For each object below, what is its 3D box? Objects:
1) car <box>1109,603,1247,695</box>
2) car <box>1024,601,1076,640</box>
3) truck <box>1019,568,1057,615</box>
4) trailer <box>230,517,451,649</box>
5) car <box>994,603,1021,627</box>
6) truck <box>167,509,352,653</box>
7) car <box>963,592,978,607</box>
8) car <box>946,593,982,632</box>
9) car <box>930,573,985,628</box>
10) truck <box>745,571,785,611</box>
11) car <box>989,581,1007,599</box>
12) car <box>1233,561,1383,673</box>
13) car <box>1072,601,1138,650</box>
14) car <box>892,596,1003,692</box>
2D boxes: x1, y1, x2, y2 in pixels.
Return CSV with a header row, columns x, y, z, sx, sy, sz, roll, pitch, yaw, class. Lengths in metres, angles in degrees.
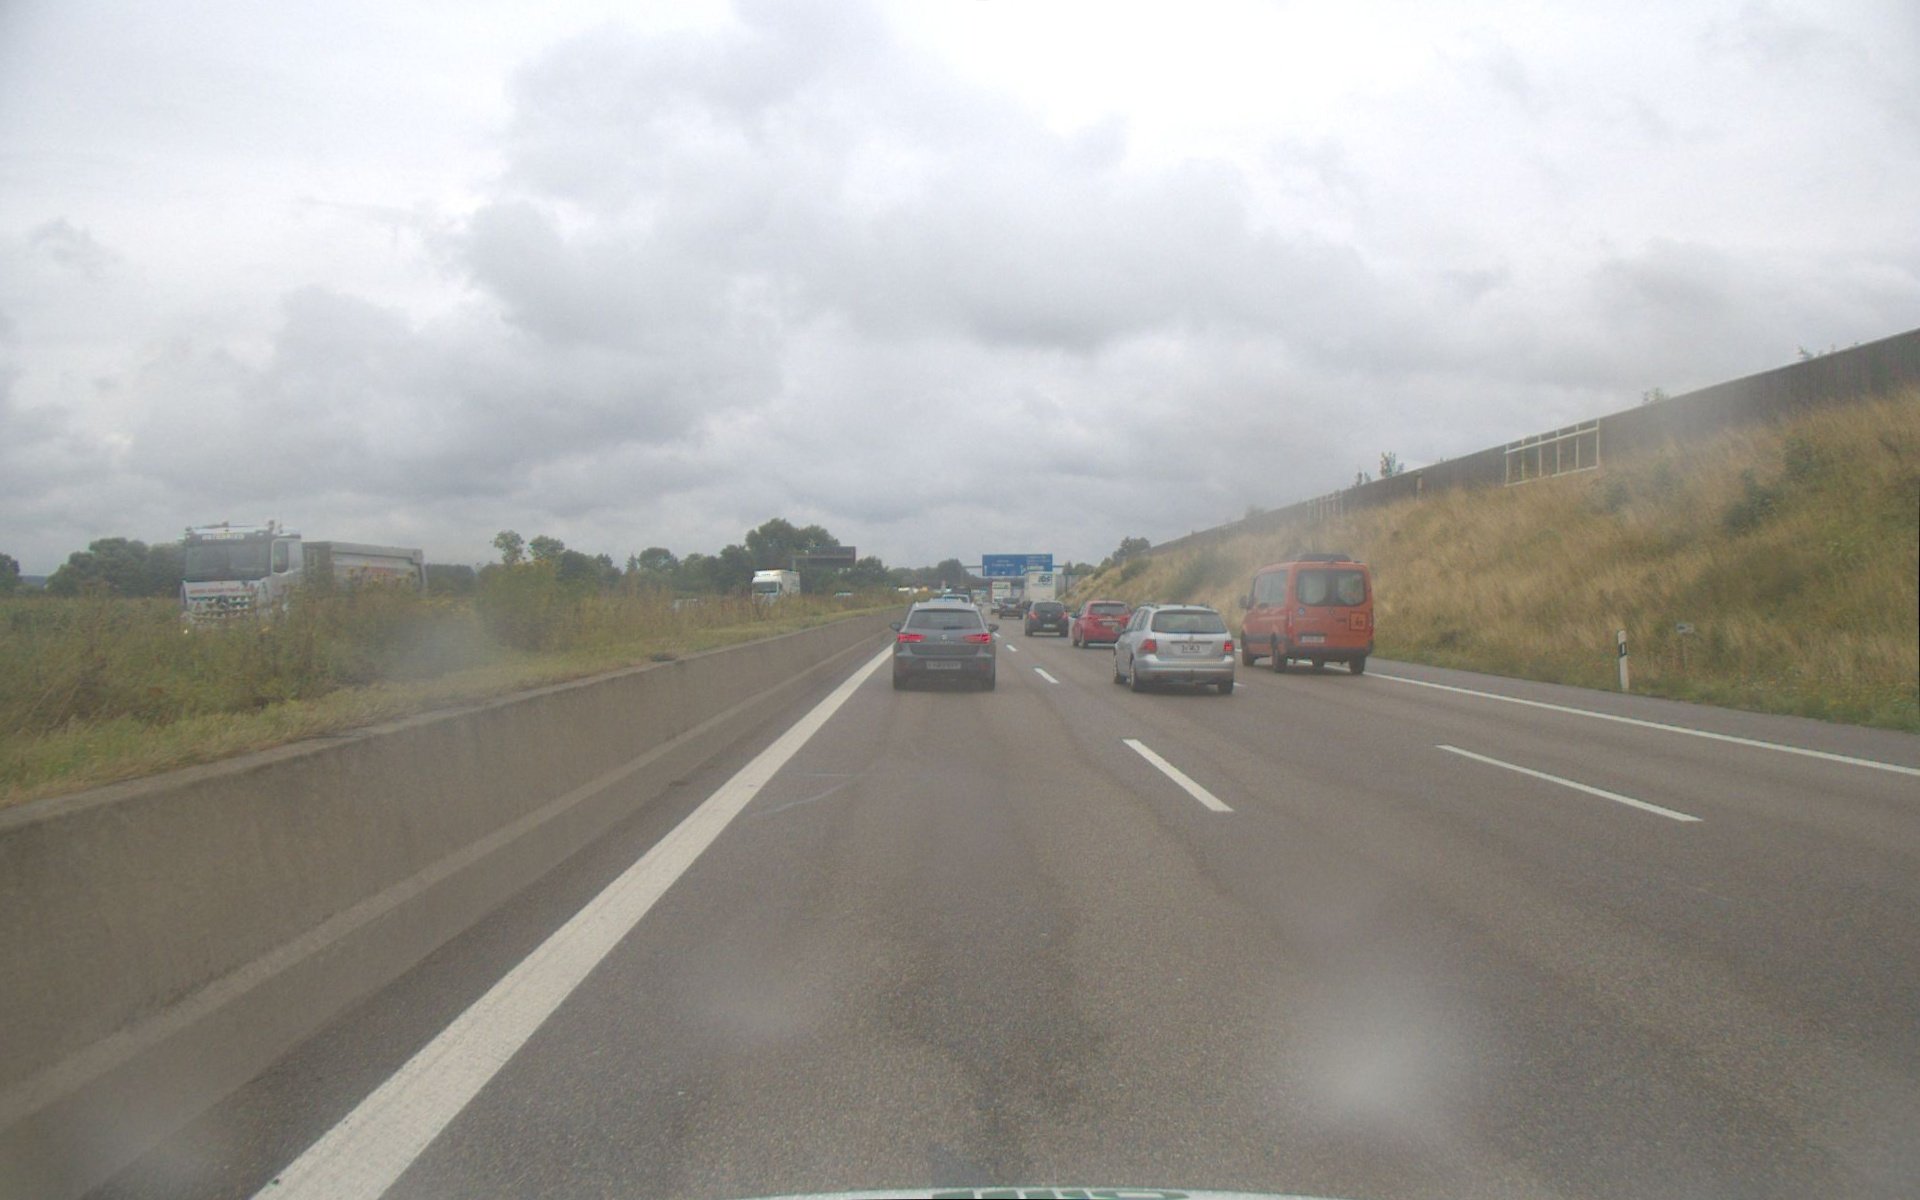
x,y,z,sx,sy,sz,roll,pitch,yaw,class
3.721,0.799,28.900,1.706,1.450,4.515,-1,0,-1,car
3.717,0.822,68.805,1.882,1.548,4.622,0,0,0,car
7.701,-0.791,165.813,3.215,4.370,19.035,1,0,1,truck
-17.602,-0.415,47.877,2.730,3.387,9.925,1,0,-1,trailer
3.536,1.105,122.979,1.808,1.716,3.999,1,0,-1,car
-17.518,-0.441,41.656,2.700,3.402,4.520,1,0,-1,truck
1.318,-0.051,209.726,1.953,1.845,4.596,0,0,0,car
0.226,0.588,81.260,1.669,1.828,3.855,-2,0,0,car
-0.038,0.032,55.922,1.718,1.780,4.001,1,0,2,car
-17.372,-0.754,147.854,2.909,3.488,5.627,1,0,-1,truck
4.515,-1.180,195.668,1.953,2.049,3.999,-1,0,-1,car
7.791,0.335,37.661,2.043,2.355,6.180,0,0,-1,car
4.650,0.800,53.654,1.852,1.472,4.686,0,0,1,car
-0.171,0.709,28.300,1.732,1.493,4.000,1,0,1,car
